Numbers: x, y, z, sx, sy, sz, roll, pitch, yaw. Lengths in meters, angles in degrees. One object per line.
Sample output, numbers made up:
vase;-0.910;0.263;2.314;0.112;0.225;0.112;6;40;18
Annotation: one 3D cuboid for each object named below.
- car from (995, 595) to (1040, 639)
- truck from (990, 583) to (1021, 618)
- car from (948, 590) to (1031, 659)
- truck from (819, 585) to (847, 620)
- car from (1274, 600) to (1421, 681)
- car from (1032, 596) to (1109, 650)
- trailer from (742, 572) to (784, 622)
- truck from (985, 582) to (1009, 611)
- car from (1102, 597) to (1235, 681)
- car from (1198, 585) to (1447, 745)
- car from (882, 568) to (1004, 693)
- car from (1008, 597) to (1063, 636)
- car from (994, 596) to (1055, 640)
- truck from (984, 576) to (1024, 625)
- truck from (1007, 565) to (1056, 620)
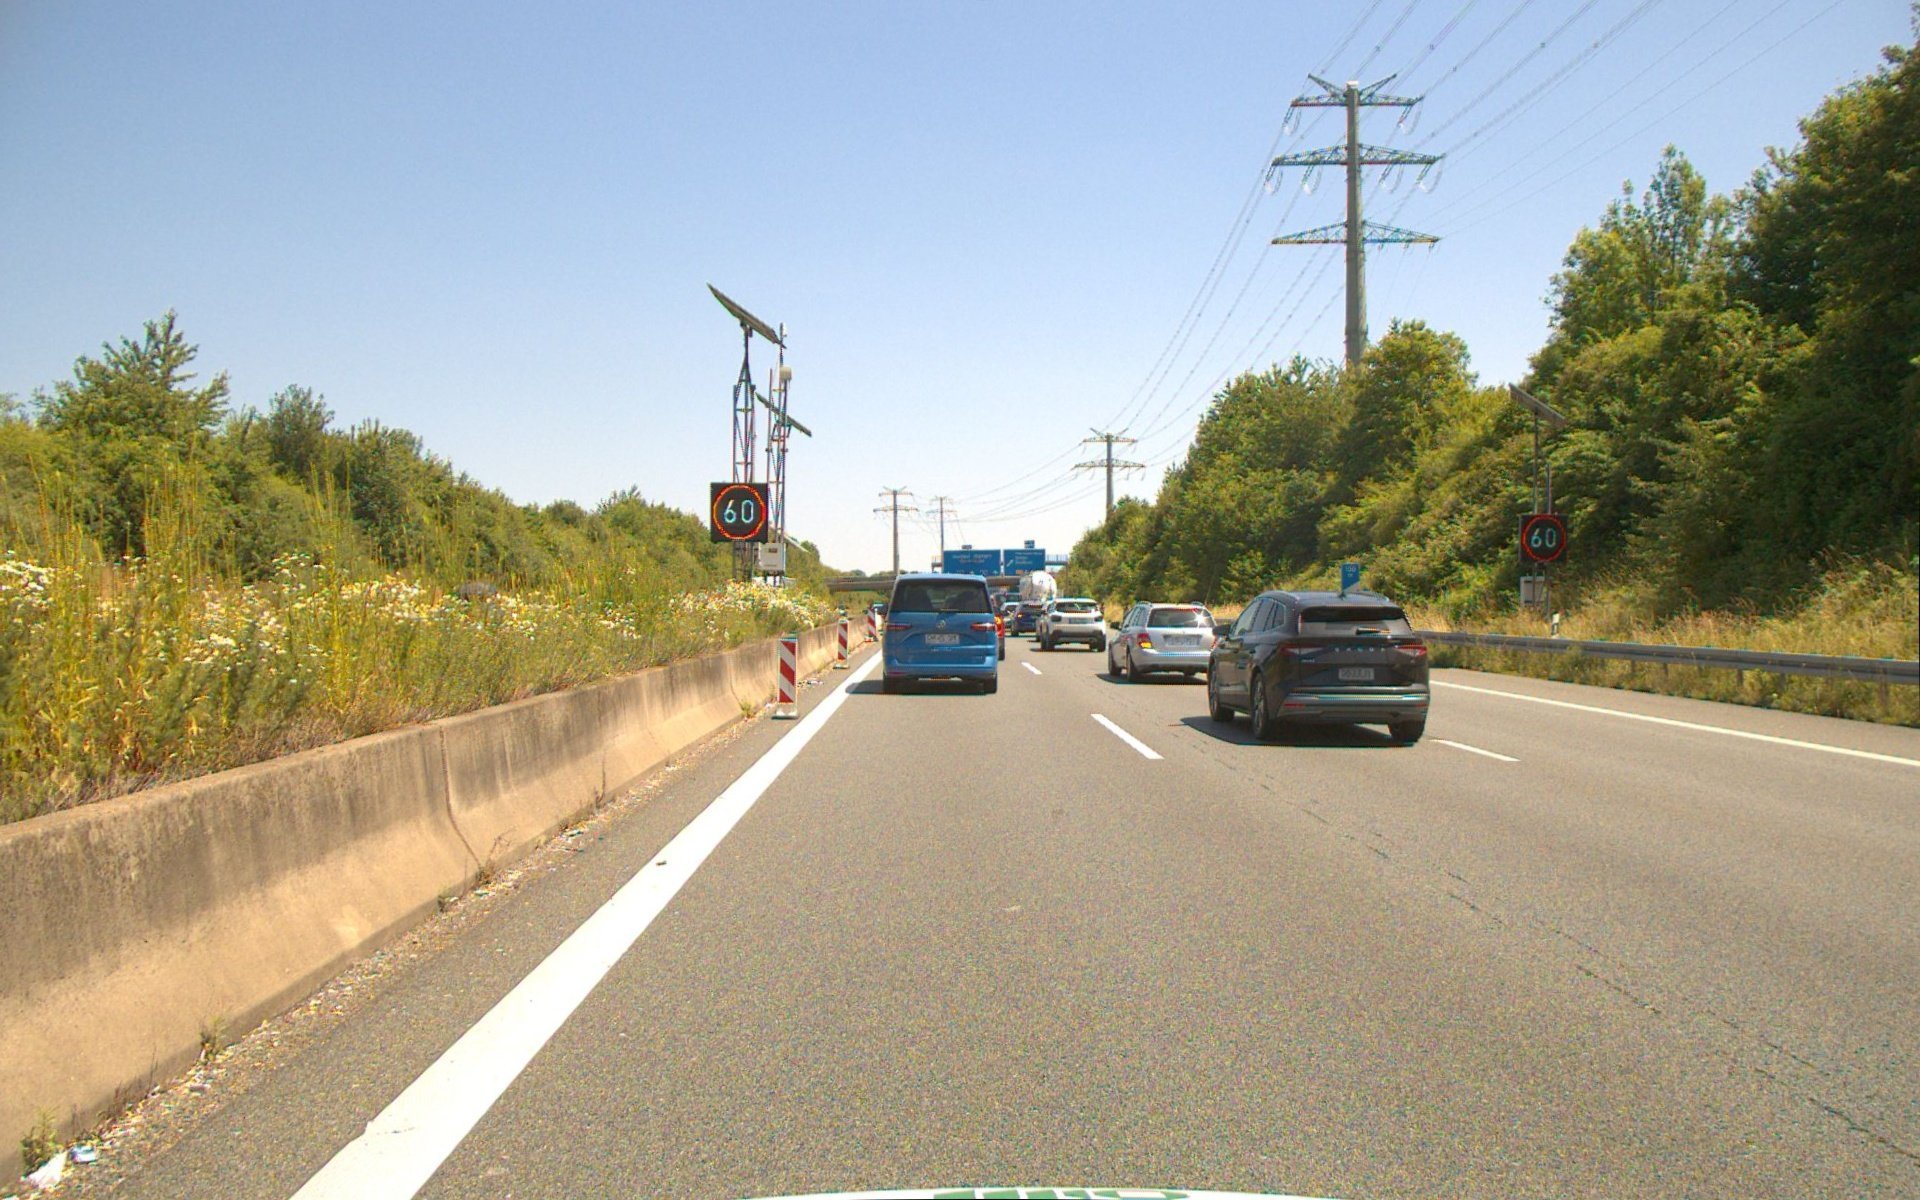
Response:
car;2.785;0.804;81.237;1.953;2.049;3.999;1;0;-1
truck;4.947;0.035;182.279;2.591;3.600;12.546;1;0;-2
car;0.689;0.594;41.973;1.870;1.659;4.381;0;0;-2
truck;-14.853;0.275;194.125;2.707;3.956;9.026;-2;0;-2
car;7.297;0.726;31.538;1.699;1.402;4.301;1;0;-1
car;3.290;0.666;49.951;1.870;1.534;3.919;1;0;-3
trailer;-16.891;-0.233;142.005;2.901;4.127;5.432;-2;0;-1
truck;5.747;-0.494;257.340;2.879;4.366;12.546;1;0;-2
car;3.902;0.690;31.640;1.784;1.462;4.381;1;0;-3
car;4.061;0.659;19.275;1.791;1.642;4.429;1;0;-2
car;-0.361;0.473;27.910;1.834;1.912;4.381;1;0;-3
car;3.135;0.669;69.294;1.870;1.542;4.381;1;0;-3
car;2.355;0.637;61.181;1.870;1.542;4.381;1;0;-3
truck;2.561;0.036;96.699;1.953;2.771;5.677;1;0;-2
truck;5.702;-0.574;134.646;2.591;4.143;16.434;1;0;-2
